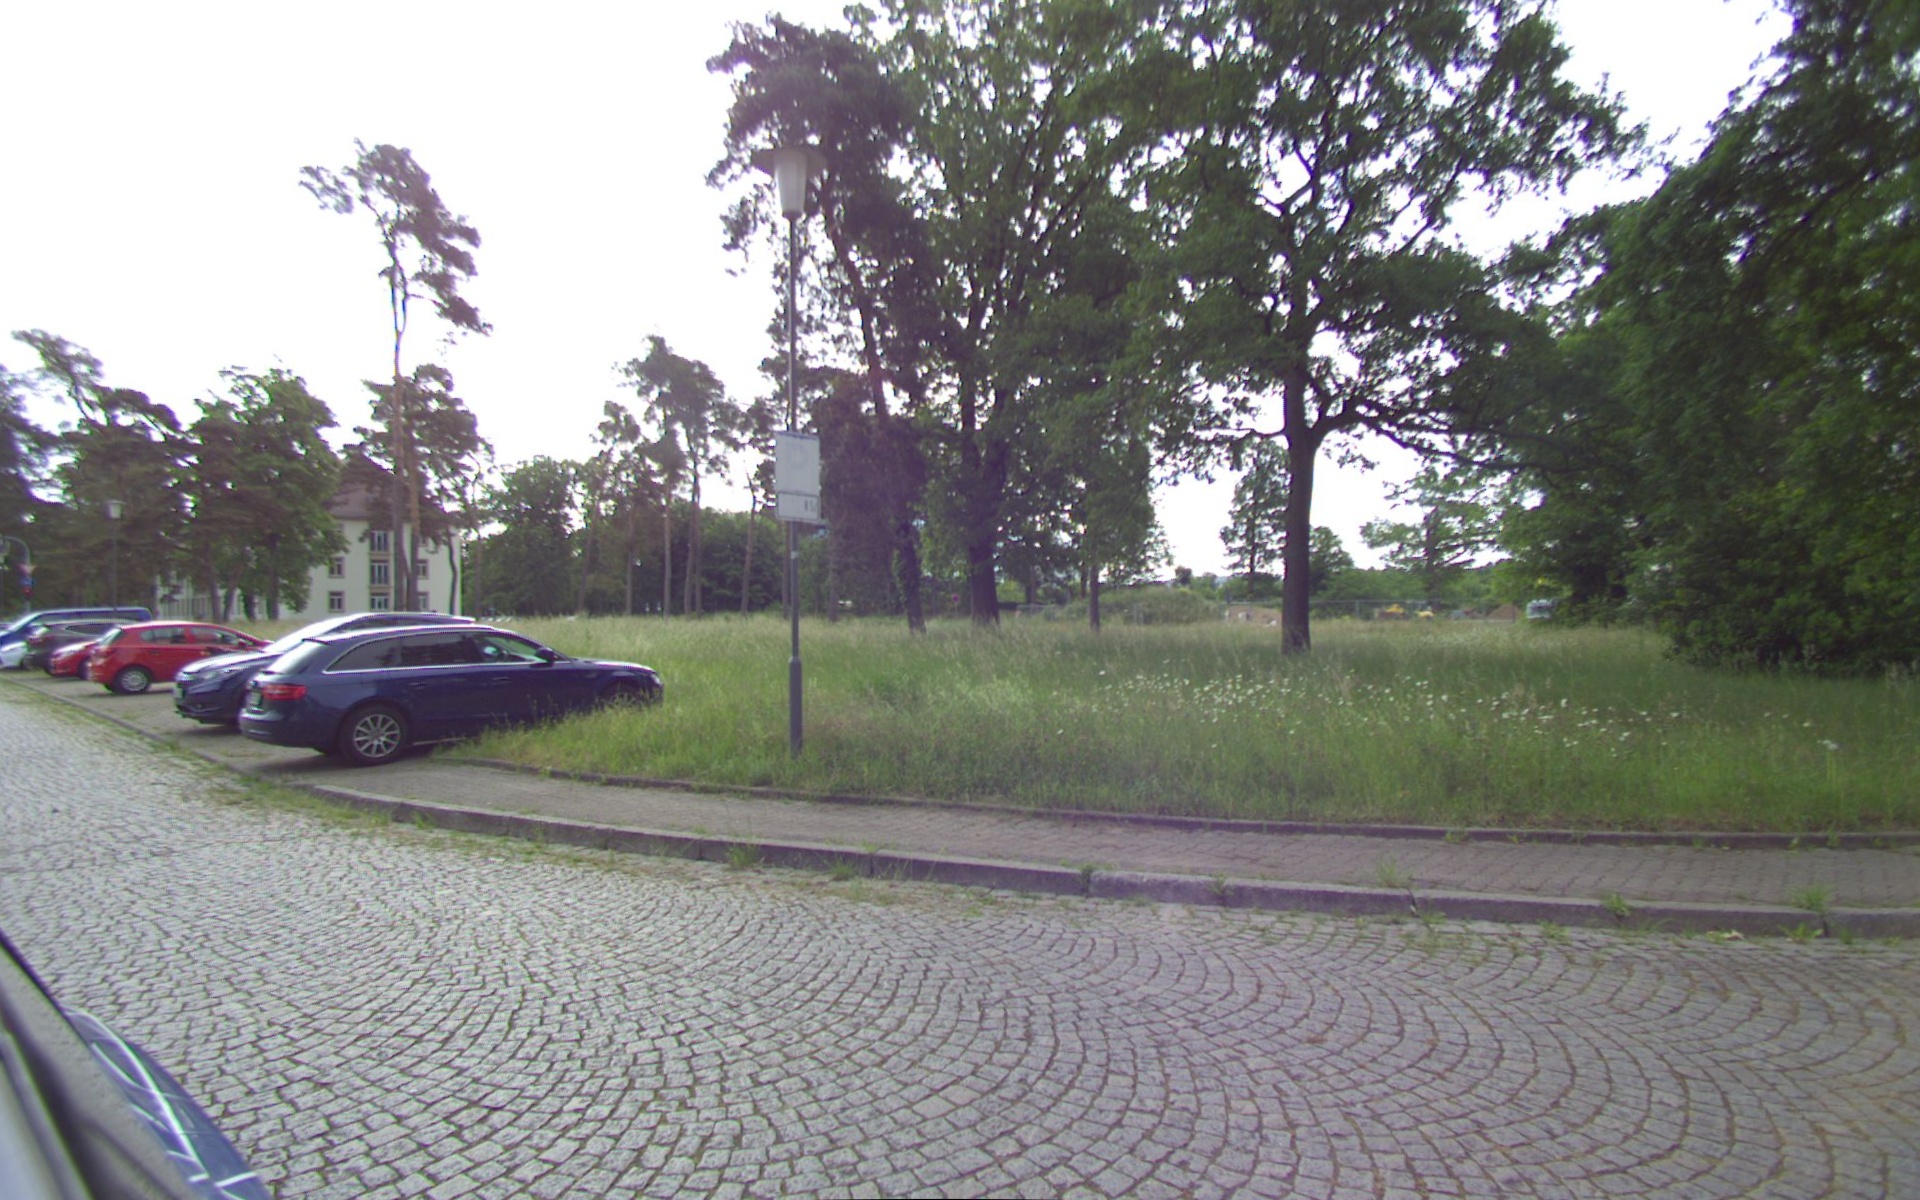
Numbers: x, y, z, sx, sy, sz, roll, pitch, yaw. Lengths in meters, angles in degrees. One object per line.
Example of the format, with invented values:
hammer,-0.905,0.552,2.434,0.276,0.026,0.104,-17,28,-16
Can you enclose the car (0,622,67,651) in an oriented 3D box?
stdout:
car,-48.253,1.897,51.607,1.583,1.349,3.900,-1,1,40

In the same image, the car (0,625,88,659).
car,-41.220,1.849,44.709,1.583,1.349,3.900,-1,1,40

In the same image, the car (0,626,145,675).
car,-29.342,1.620,33.322,1.583,1.349,3.645,-1,1,40

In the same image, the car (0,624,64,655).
car,-44.697,1.865,47.401,1.583,1.349,3.900,-1,1,40

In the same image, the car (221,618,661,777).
car,-5.950,0.984,11.981,1.765,1.415,4.292,-1,0,44

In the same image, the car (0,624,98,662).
car,-37.270,1.721,40.568,1.583,1.349,3.900,-1,1,40

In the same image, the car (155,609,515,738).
car,-9.255,0.976,15.291,1.763,1.574,4.307,-1,0,40

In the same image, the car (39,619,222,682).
car,-22.449,1.318,27.478,1.576,1.432,3.614,-1,1,40

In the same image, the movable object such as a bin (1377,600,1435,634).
movable object such as a bin,35.011,1.335,79.644,1.971,2.575,5.349,0,-1,-2

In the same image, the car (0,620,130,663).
car,-34.605,1.559,38.958,1.583,1.445,3.900,-1,1,40

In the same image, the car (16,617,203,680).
car,-24.499,1.343,29.244,1.763,1.557,3.900,-1,1,40

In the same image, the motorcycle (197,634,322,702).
motorcycle,-13.355,1.270,19.347,0.549,1.202,1.891,-1,-1,37

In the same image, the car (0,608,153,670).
car,-31.084,1.315,35.169,1.792,1.916,4.484,-1,1,40

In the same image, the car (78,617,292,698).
car,-16.910,1.190,22.180,1.601,1.493,3.452,-1,1,41
